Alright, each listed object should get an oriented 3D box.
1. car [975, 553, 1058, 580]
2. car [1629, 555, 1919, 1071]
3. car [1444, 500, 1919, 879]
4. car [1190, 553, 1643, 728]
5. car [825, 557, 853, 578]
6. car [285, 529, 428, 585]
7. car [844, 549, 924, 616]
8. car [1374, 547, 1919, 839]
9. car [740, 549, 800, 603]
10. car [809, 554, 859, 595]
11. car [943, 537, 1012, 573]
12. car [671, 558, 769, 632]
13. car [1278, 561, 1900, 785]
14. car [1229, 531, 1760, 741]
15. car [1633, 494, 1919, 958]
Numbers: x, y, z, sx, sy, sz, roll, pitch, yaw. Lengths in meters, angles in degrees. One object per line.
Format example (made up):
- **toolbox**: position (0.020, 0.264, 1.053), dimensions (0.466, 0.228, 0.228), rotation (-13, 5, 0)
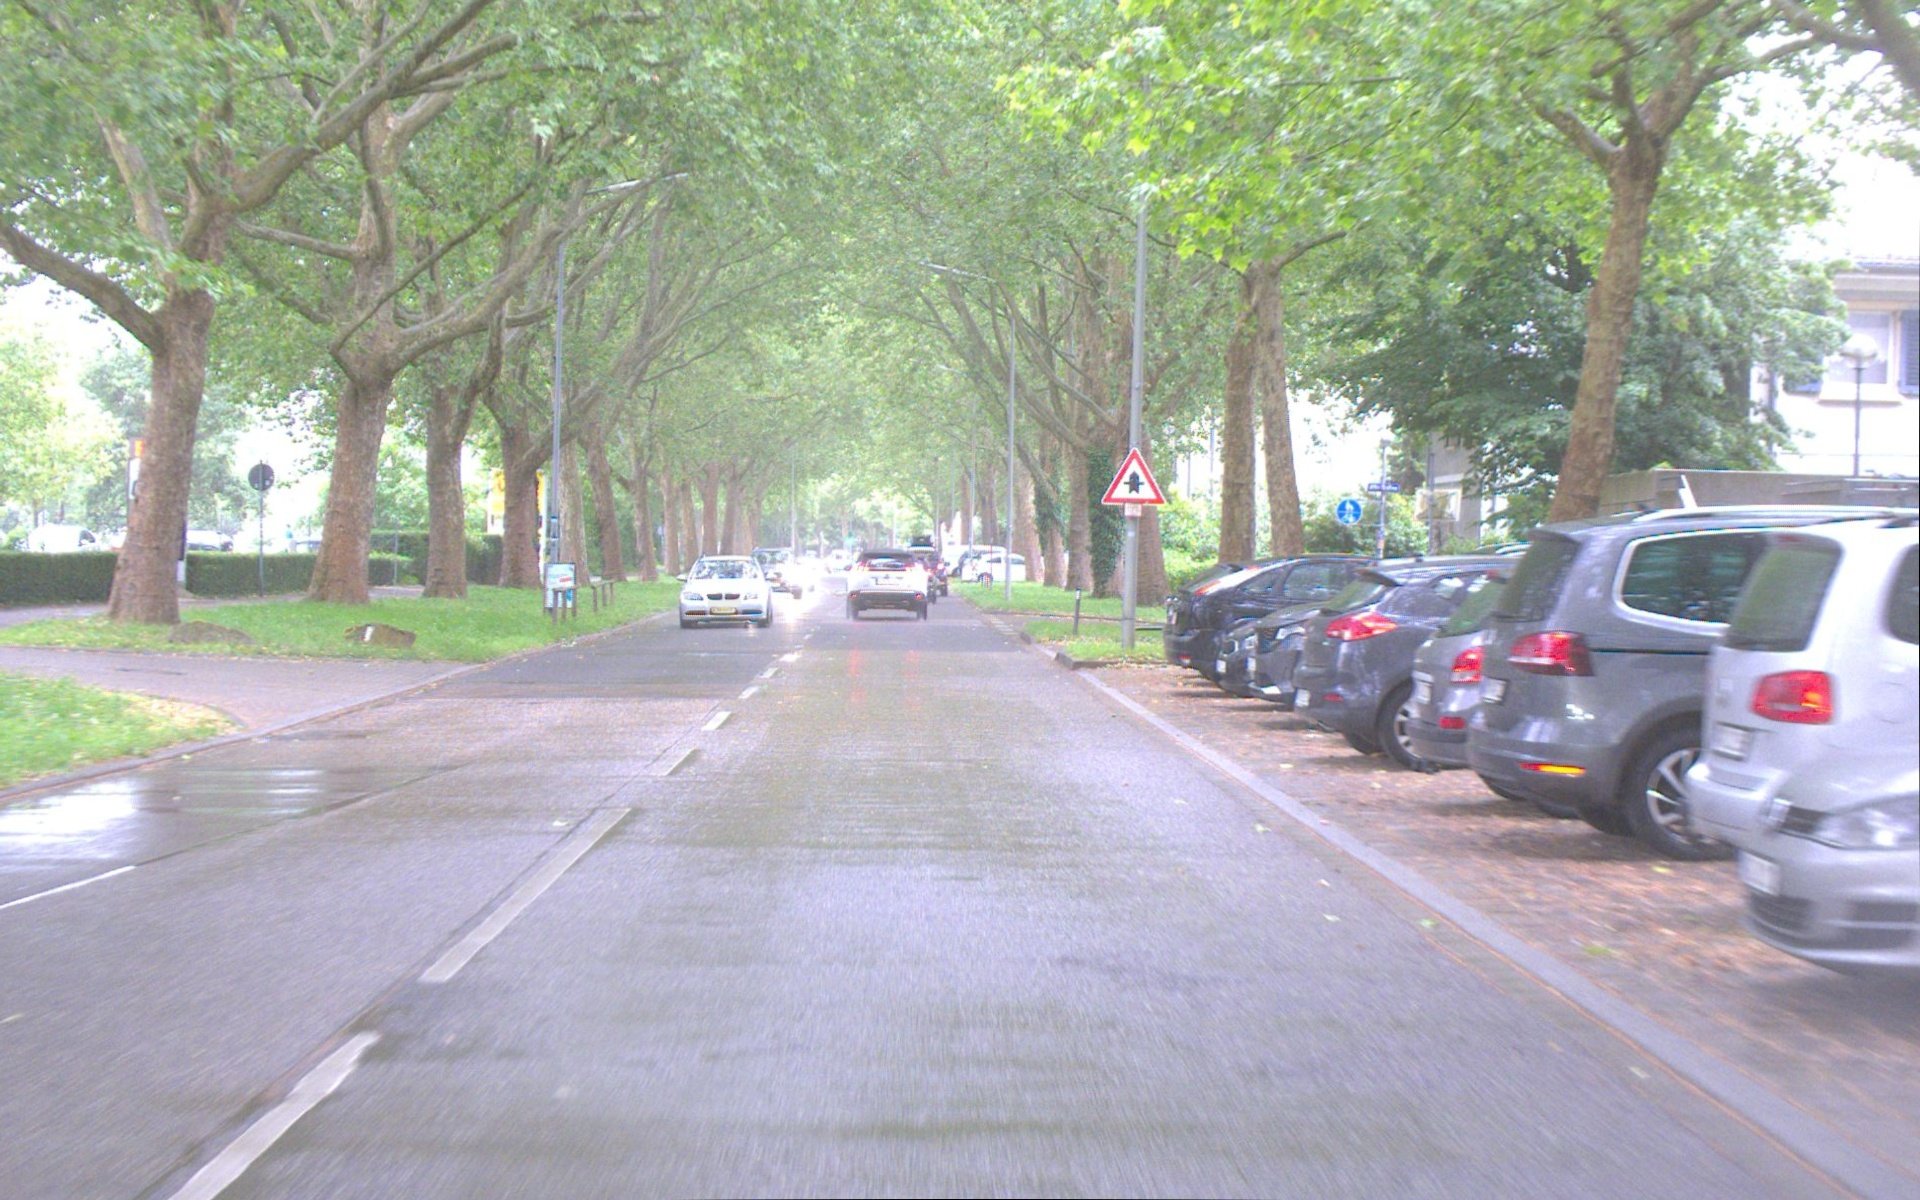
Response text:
- **car**: position (2.496, -1.498, 152.792), dimensions (3.546, 1.151, 1.712), rotation (-1, 1, -3)
- **car**: position (4.396, 0.691, 11.191), dimensions (3.986, 1.507, 1.801), rotation (2, 1, -2)
- **car**: position (4.804, 0.458, 17.518), dimensions (4.337, 1.756, 1.819), rotation (2, 1, 0)
- **car**: position (4.370, 0.373, 33.298), dimensions (4.041, 1.525, 1.781), rotation (1, 1, -3)
- **car**: position (-7.977, -2.151, 227.126), dimensions (1.720, 1.250, 4.000), rotation (2, 1, 0)
- **car**: position (-18.427, -1.311, 105.074), dimensions (3.987, 1.617, 2.000), rotation (1, 1, 0)
- **car**: position (-1.675, -0.409, 75.950), dimensions (1.706, 1.406, 3.645), rotation (-1, 1, -1)
- **car**: position (4.564, 0.534, 20.263), dimensions (3.987, 1.532, 1.631), rotation (2, 1, 0)
- **car**: position (-6.090, -0.797, 110.686), dimensions (1.809, 1.678, 4.448), rotation (0, 1, -2)
- **car**: position (-4.516, -0.921, 123.329), dimensions (1.706, 1.406, 3.645), rotation (-1, 1, -1)
- **car**: position (0.901, -2.370, 180.755), dimensions (3.546, 1.835, 1.712), rotation (-1, 1, -2)
- **car**: position (-4.809, -0.125, 69.241), dimensions (1.678, 1.384, 4.549), rotation (0, 1, 0)
- **car**: position (4.398, 0.486, 24.375), dimensions (4.035, 1.436, 1.686), rotation (-1, 1, -3)
- **car**: position (4.547, 0.284, 29.699), dimensions (4.210, 1.650, 1.914), rotation (1, 1, -1)
- **car**: position (4.915, 0.521, 13.847), dimensions (3.987, 1.721, 1.801), rotation (2, 1, 0)
